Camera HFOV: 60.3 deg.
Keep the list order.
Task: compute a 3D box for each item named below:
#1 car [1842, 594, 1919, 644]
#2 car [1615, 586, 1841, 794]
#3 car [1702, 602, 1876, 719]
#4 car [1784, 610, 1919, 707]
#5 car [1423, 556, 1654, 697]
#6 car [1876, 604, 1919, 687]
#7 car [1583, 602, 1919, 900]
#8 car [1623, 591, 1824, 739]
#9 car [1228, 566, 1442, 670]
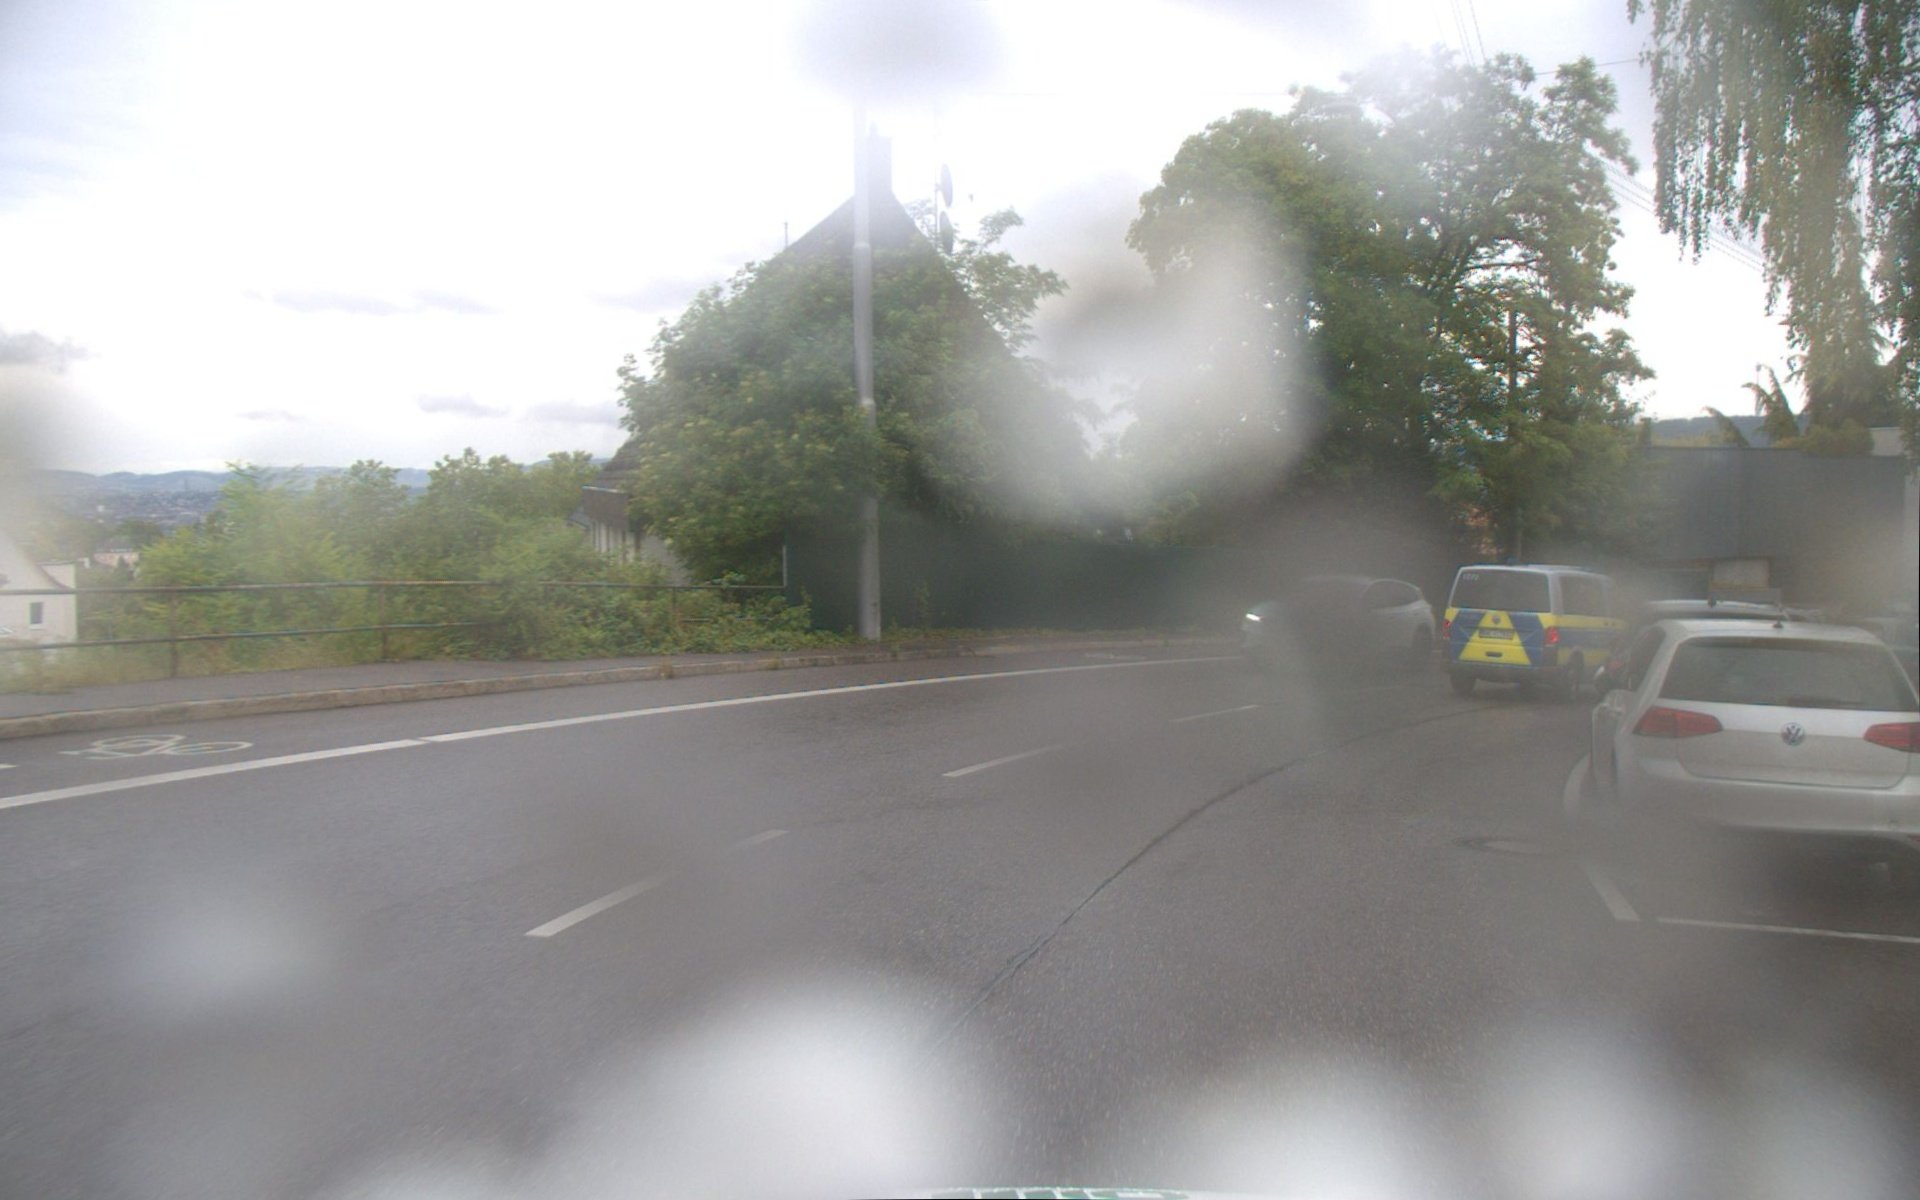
[{"bbox_3d":[29.642,0.597,53.023,1.853,1.323,4.001,4,3,21],"label":"car"},{"bbox_3d":[6.920,0.668,14.886,1.592,1.545,4.323,0,1,26],"label":"car"},{"bbox_3d":[12.022,0.818,23.887,1.594,1.531,3.589,0,0,38],"label":"car"},{"bbox_3d":[15.219,0.920,27.451,1.691,1.460,4.042,0,0,43],"label":"car"},{"bbox_3d":[9.183,0.422,26.028,1.963,1.926,4.548,5,1,38],"label":"car"},{"bbox_3d":[18.814,0.849,31.100,3.706,1.497,1.662,1,0,-42],"label":"car"},{"bbox_3d":[5.042,0.792,10.590,1.752,1.471,4.107,2,0,18],"label":"car"},{"bbox_3d":[8.843,0.673,18.985,1.694,1.490,4.022,0,0,31],"label":"car"},{"bbox_3d":[6.495,0.258,28.356,1.799,1.635,4.261,0,1,41],"label":"car"}]
